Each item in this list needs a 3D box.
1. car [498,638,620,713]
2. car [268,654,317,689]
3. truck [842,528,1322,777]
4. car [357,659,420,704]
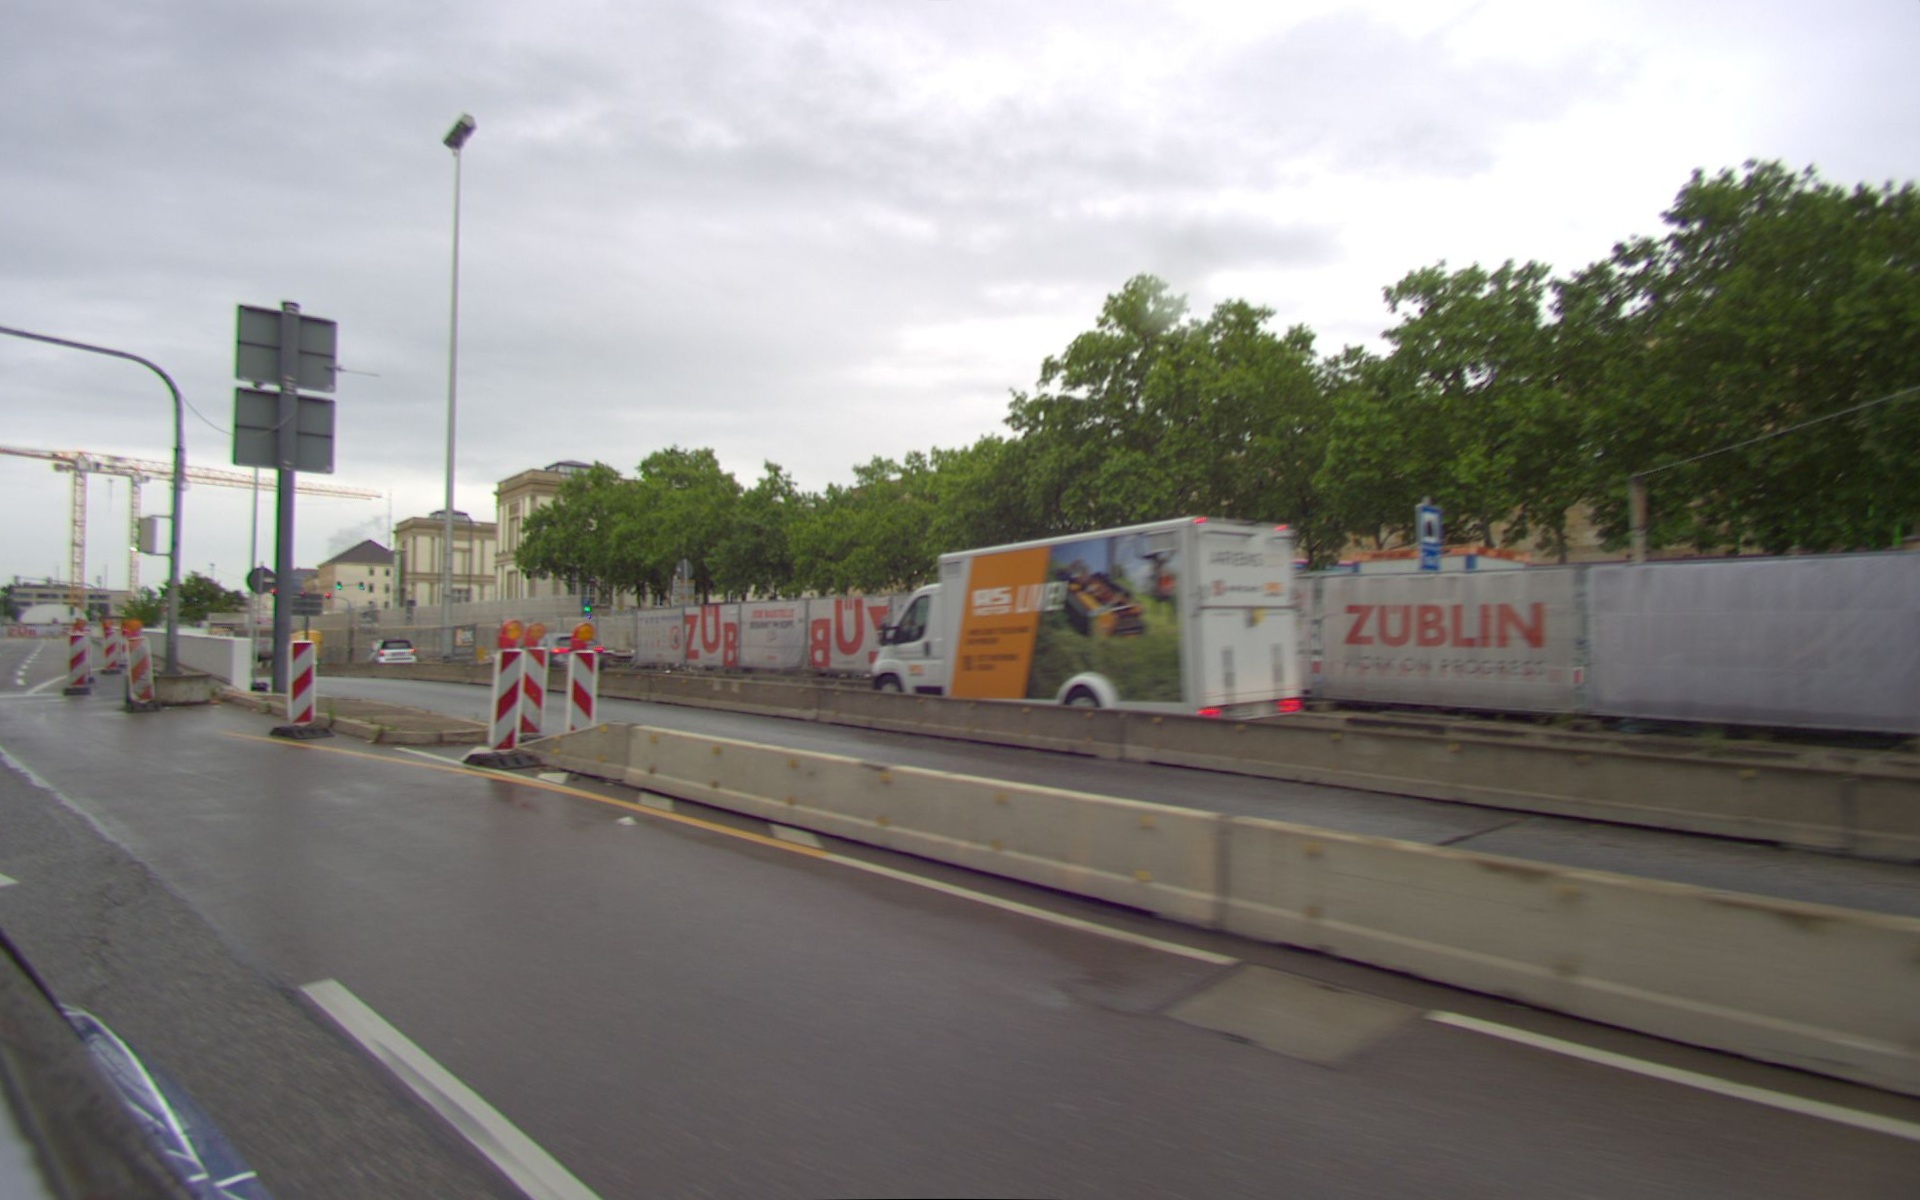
[{"bbox_3d":[-12.588,2.268,31.599,1.885,2.029,4.763,-2,1,-43],"label":"car"},{"bbox_3d":[-41.108,4.366,62.323,1.875,2.029,4.005,4,-4,-42],"label":"car"},{"bbox_3d":[1.265,0.748,14.742,2.367,2.740,7.368,2,-4,-39],"label":"truck"},{"bbox_3d":[-25.941,3.655,45.875,1.680,1.882,3.361,4,-4,-43],"label":"car"}]
